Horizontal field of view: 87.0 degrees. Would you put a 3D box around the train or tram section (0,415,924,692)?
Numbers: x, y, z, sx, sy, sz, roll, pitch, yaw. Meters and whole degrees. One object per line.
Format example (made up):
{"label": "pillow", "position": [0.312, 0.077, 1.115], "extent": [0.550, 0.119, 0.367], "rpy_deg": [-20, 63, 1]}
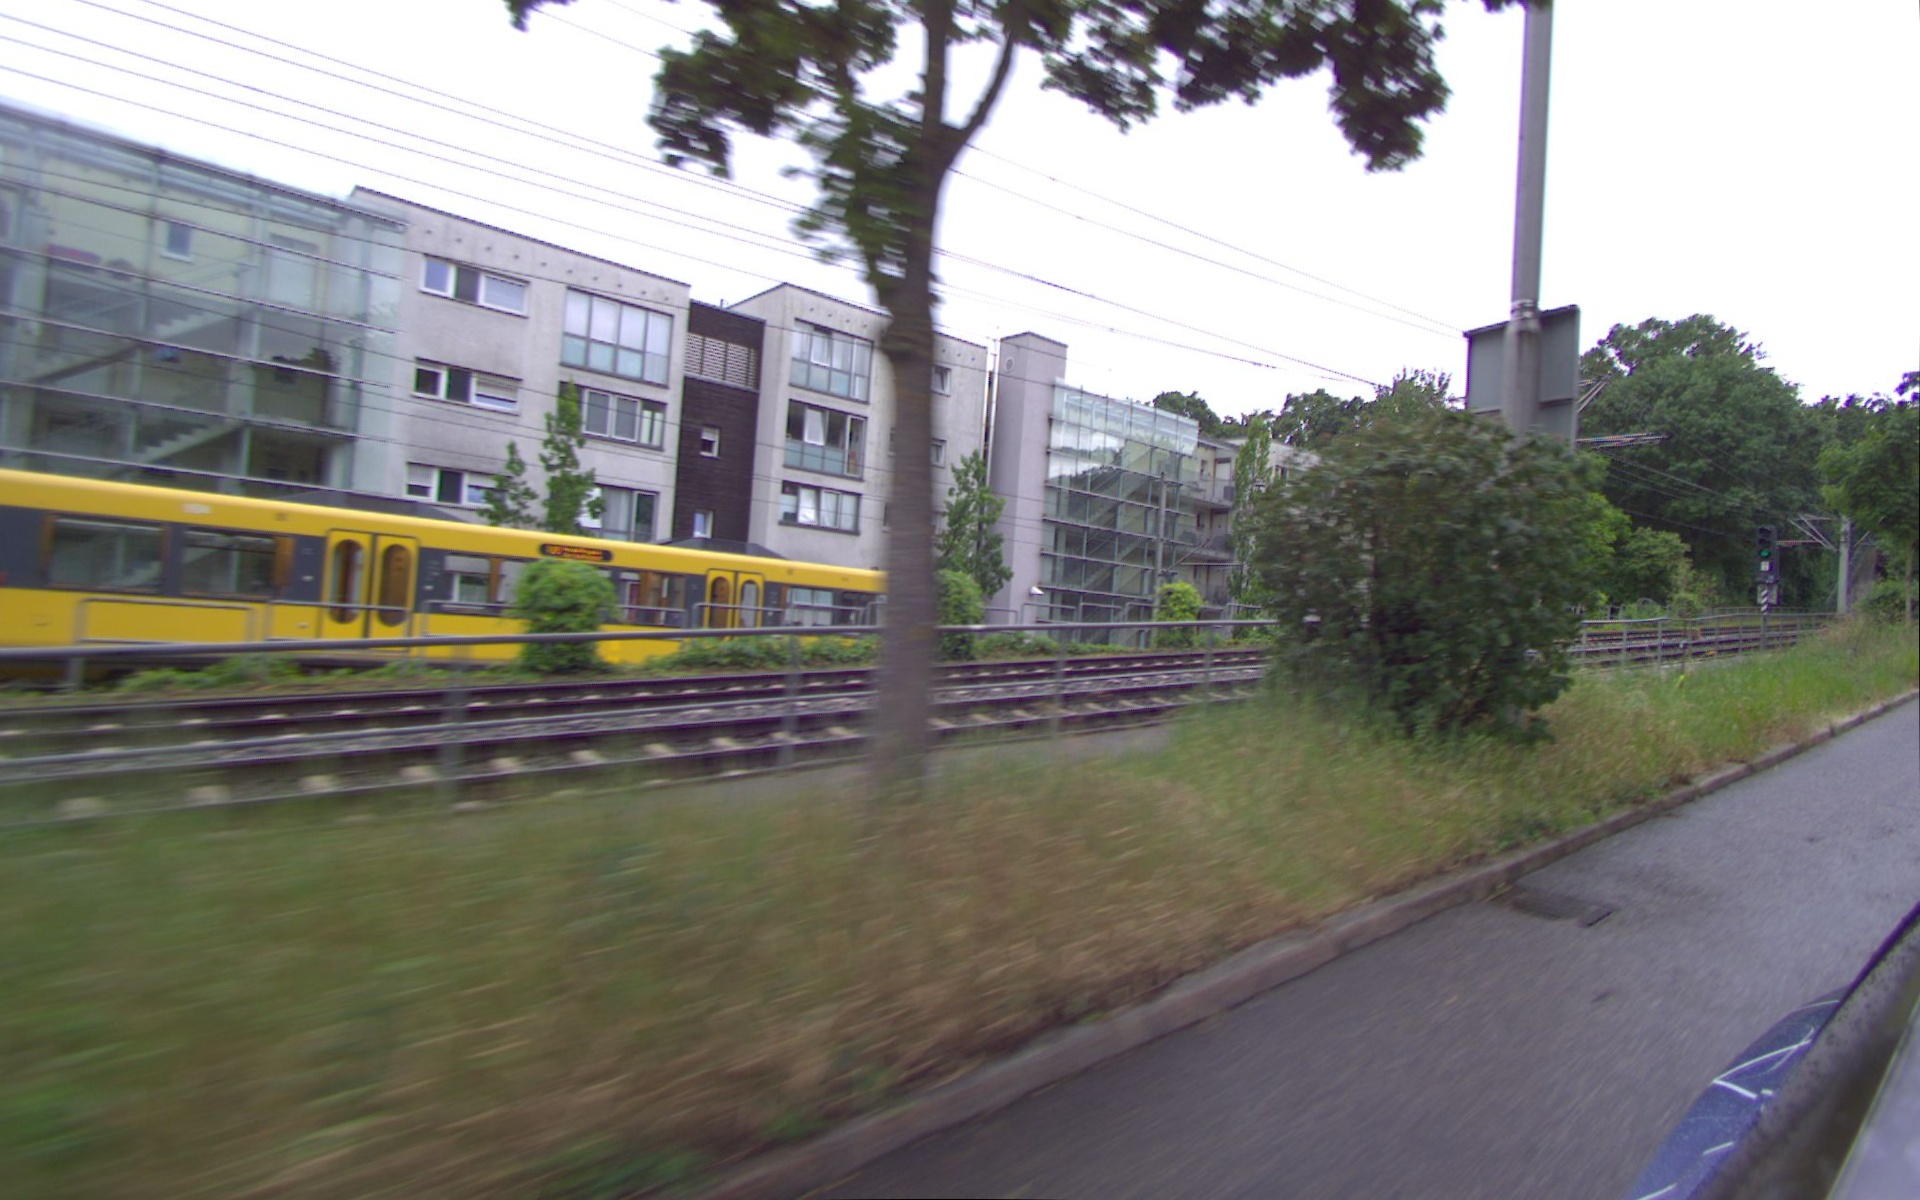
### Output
{"label": "train or tram section", "position": [-9.179, -0.716, 20.826], "extent": [18.943, 3.996, 3.337], "rpy_deg": [0, 1, -41]}
